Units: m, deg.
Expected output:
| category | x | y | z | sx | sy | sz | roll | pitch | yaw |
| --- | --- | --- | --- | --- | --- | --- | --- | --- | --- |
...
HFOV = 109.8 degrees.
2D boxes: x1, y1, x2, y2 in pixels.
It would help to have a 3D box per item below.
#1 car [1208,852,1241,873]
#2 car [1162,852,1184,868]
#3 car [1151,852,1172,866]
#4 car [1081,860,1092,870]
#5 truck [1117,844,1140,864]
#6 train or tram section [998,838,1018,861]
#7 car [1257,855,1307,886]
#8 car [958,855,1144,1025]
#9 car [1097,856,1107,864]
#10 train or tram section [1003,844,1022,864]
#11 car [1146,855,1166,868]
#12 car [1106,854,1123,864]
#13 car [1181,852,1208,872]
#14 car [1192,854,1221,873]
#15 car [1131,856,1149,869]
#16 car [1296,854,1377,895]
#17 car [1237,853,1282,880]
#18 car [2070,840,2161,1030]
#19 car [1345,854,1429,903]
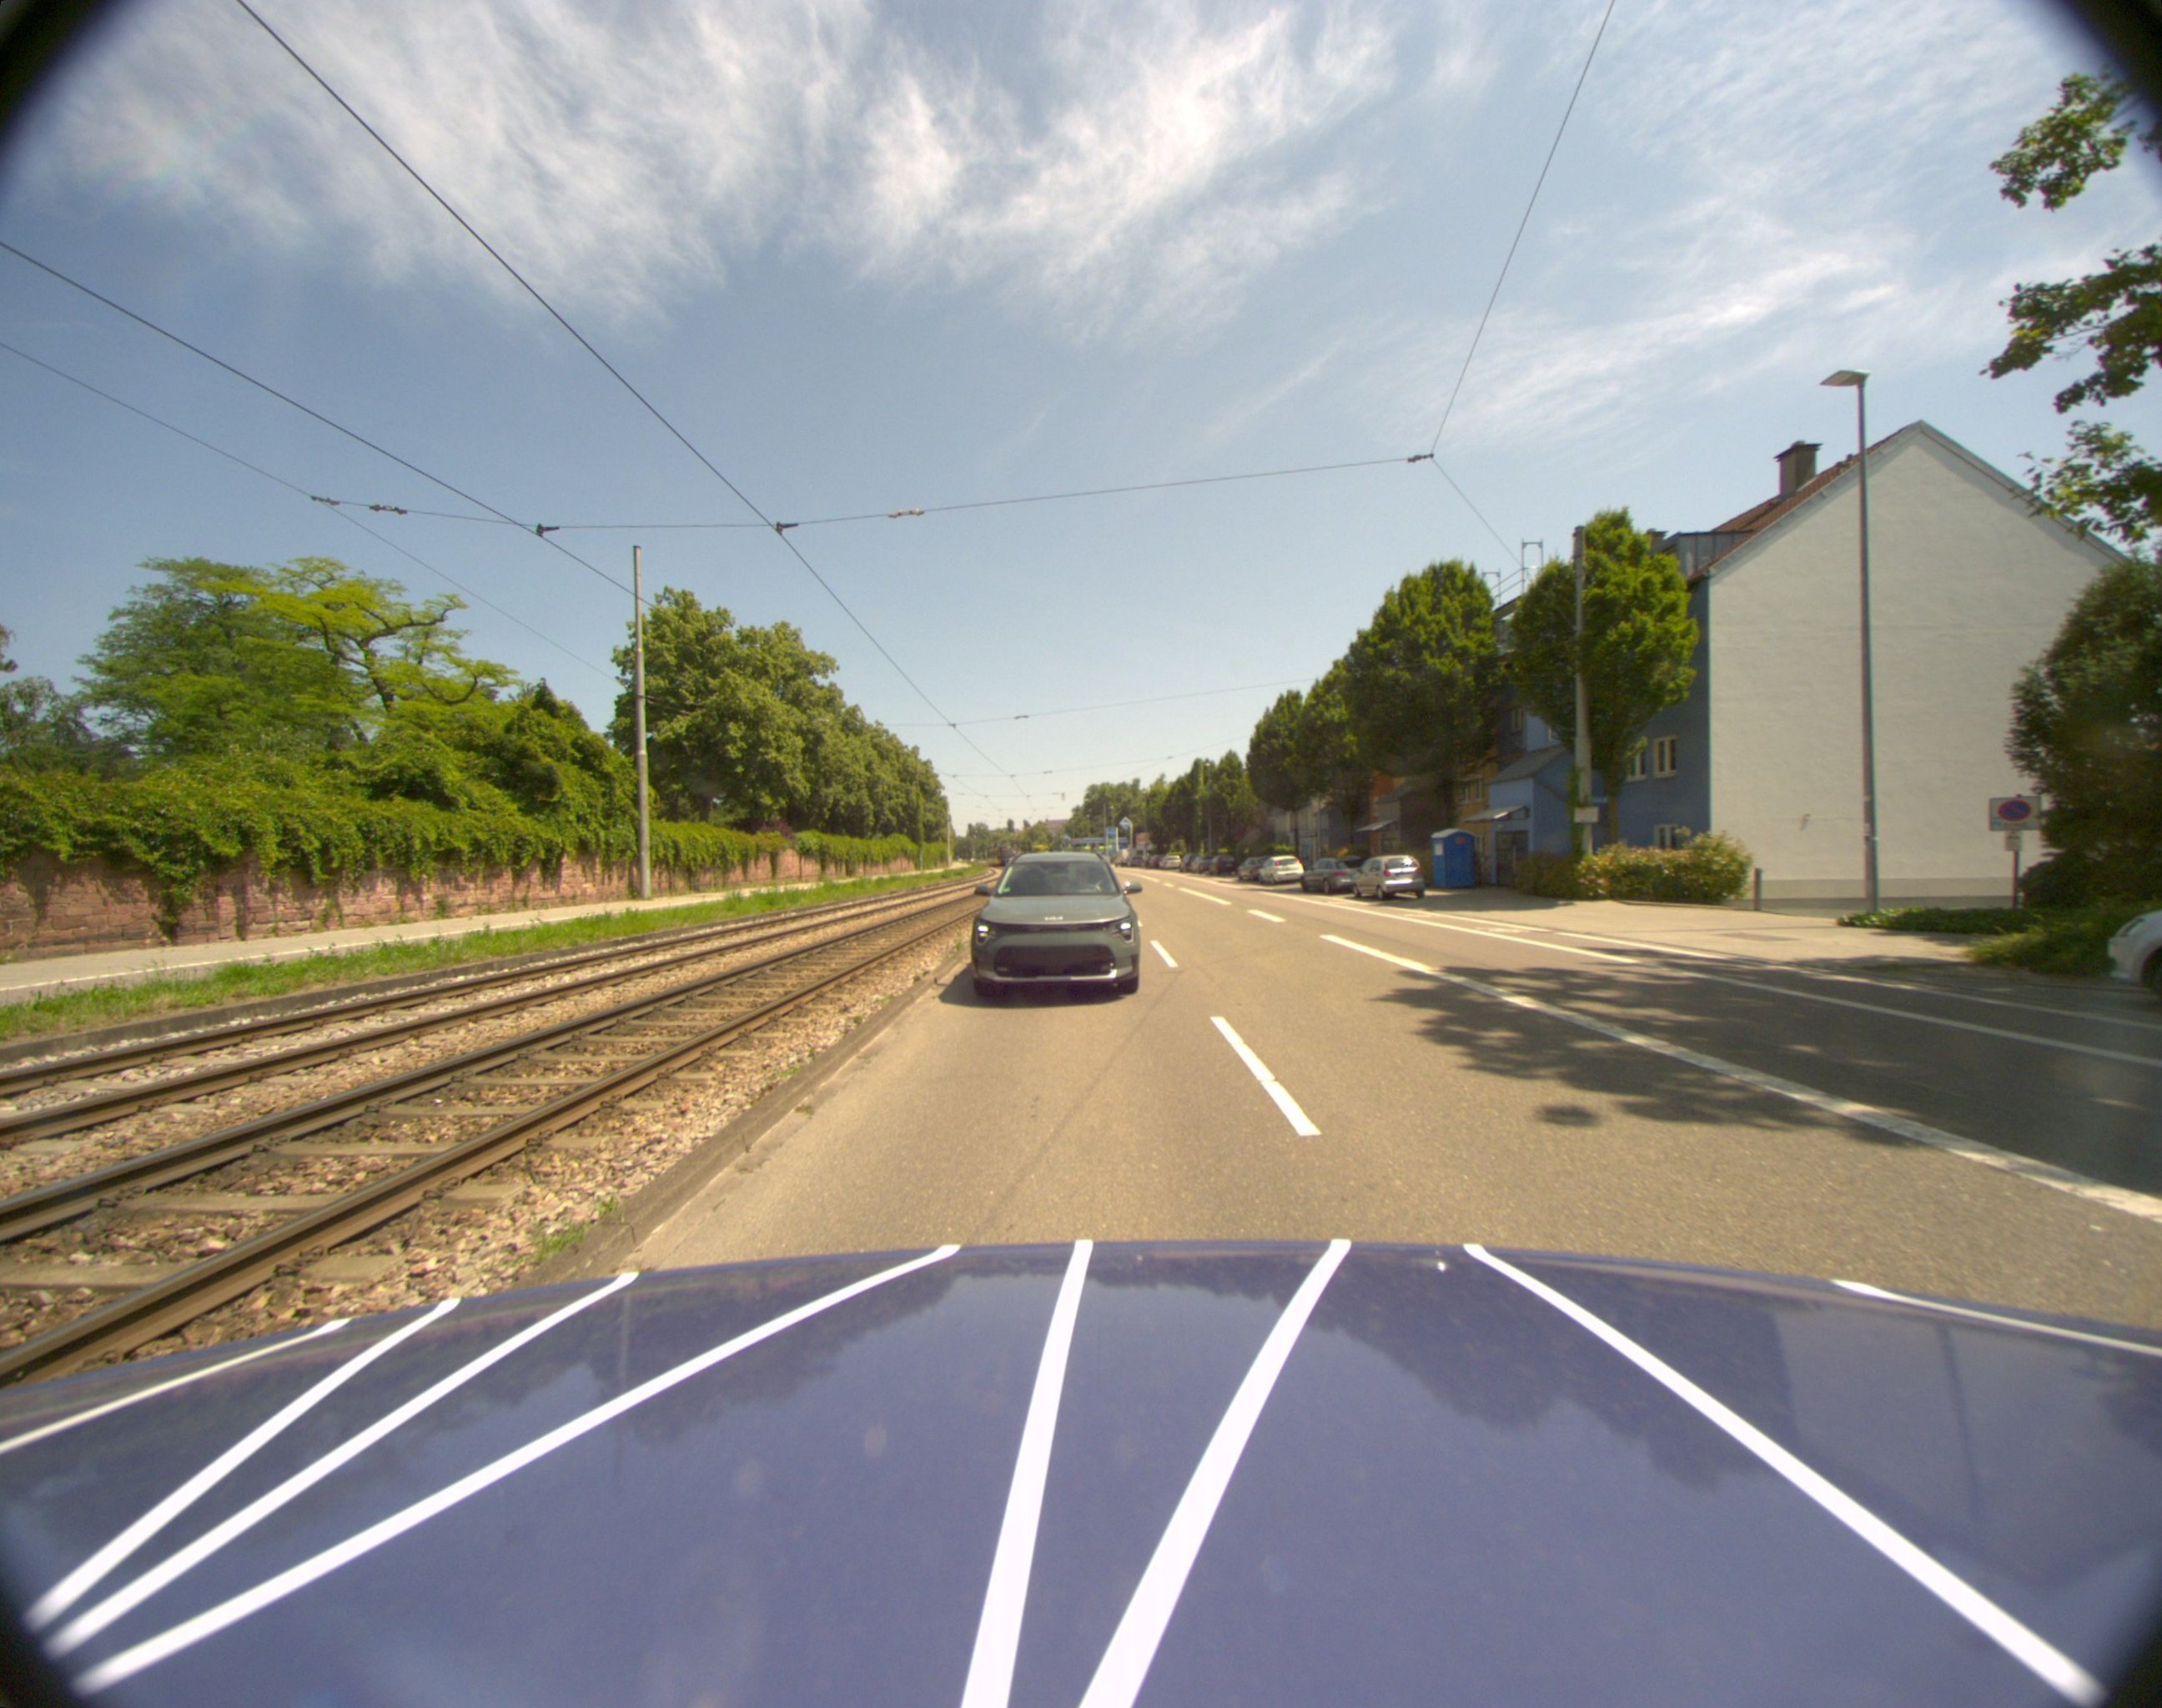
| category | x | y | z | sx | sy | sz | roll | pitch | yaw |
| --- | --- | --- | --- | --- | --- | --- | --- | --- | --- |
| car | 11.054 | 0.631 | 58.767 | 1.656 | 1.487 | 4.082 | -4 | 0 | -1 |
| car | 9.797 | 0.625 | 81.259 | 1.723 | 1.487 | 4.082 | -4 | 0 | -1 |
| car | 9.222 | 0.535 | 86.879 | 1.865 | 1.487 | 3.470 | -4 | 0 | -1 |
| car | 1.077 | 2.014 | 140.426 | 1.865 | 1.487 | 3.470 | -4 | 0 | -1 |
| truck | 6.671 | 0.059 | 106.712 | 2.135 | 2.565 | 4.860 | -5 | 0 | -9 |
| train or tram section | -13.018 | -0.804 | 136.544 | 2.814 | 3.785 | 14.256 | -2 | 1 | -2 |
| car | 11.061 | 0.860 | 42.046 | 1.656 | 1.487 | 3.649 | -4 | 0 | -1 |
| car | -0.289 | 0.844 | 9.609 | 1.759 | 1.574 | 4.427 | -2 | 0 | 0 |
| car | 4.346 | 1.252 | 157.594 | 1.865 | 1.487 | 3.469 | 0 | 0 | -2 |
| train or tram section | -13.562 | -0.080 | 150.779 | 2.784 | 3.789 | 14.257 | -2 | 1 | -2 |
| car | 9.053 | 0.887 | 91.973 | 1.865 | 1.487 | 3.470 | -4 | 0 | -1 |
| car | 5.181 | 0.752 | 118.633 | 1.866 | 1.487 | 3.468 | -5 | 0 | -9 |
| car | 10.347 | 0.712 | 69.556 | 1.656 | 1.578 | 4.082 | -4 | 0 | -1 |
| car | 10.505 | 0.770 | 63.795 | 1.656 | 1.487 | 4.082 | -4 | 0 | -1 |
| car | 7.801 | 1.148 | 100.738 | 1.865 | 1.487 | 3.470 | -4 | 0 | -1 |
| car | 10.704 | 0.815 | 32.205 | 1.680 | 1.487 | 4.638 | -4 | 0 | -1 |
| car | 11.106 | 0.726 | 47.537 | 1.656 | 1.487 | 4.082 | -4 | 0 | -1 |
| car | 10.582 | 0.710 | 5.052 | 1.975 | 1.679 | 4.688 | -2 | 0 | 2 |
| car | 10.789 | 0.817 | 27.024 | 1.505 | 1.487 | 3.281 | -5 | 0 | -1 |
